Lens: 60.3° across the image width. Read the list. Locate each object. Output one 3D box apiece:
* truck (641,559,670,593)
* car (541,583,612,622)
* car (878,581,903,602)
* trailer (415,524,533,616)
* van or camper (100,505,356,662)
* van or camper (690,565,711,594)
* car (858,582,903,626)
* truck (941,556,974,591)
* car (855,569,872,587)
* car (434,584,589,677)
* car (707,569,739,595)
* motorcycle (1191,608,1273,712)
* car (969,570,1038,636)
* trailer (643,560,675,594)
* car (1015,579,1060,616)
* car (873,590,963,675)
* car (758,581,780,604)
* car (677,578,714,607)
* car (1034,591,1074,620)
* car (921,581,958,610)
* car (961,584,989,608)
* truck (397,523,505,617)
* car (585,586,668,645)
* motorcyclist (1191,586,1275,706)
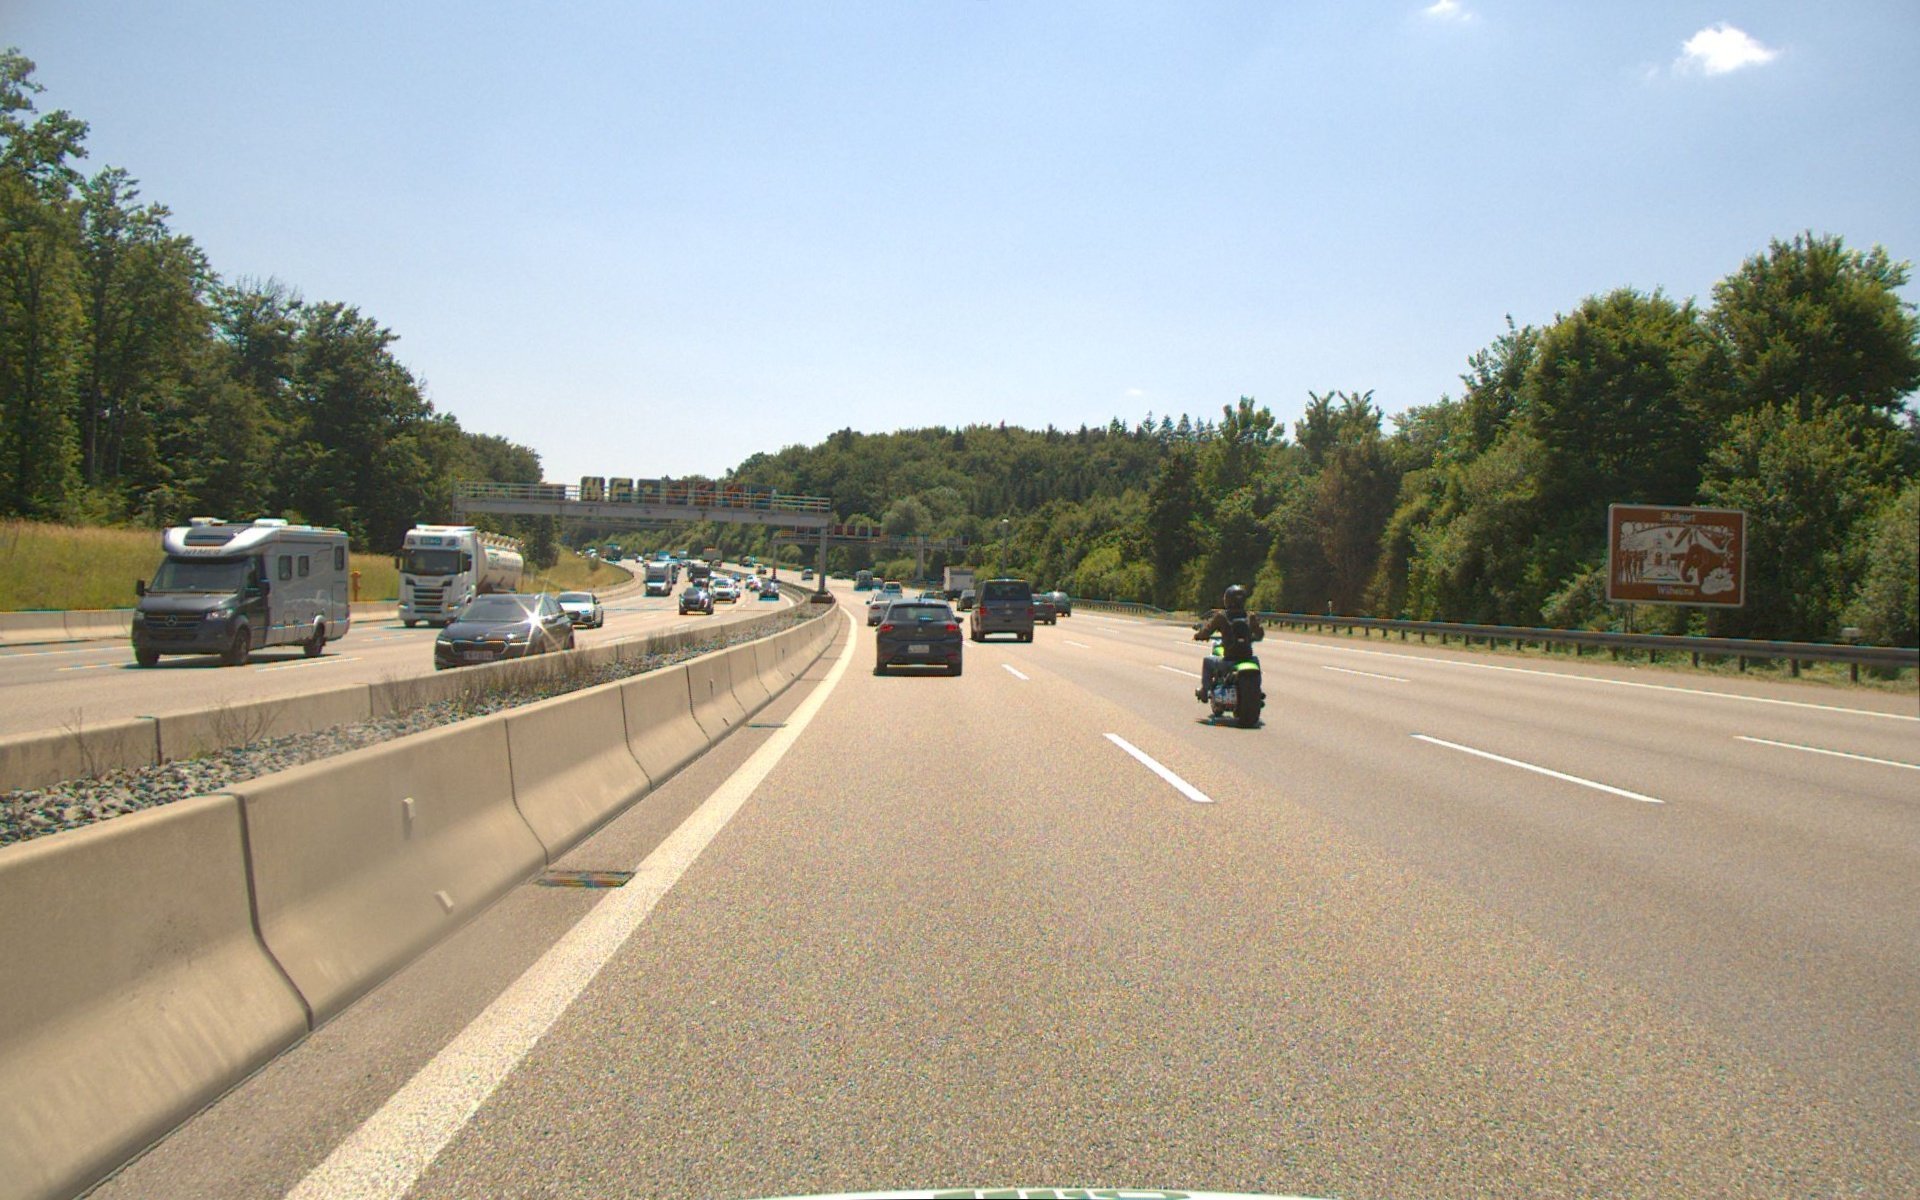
[{"bbox_3d":[-30.494,-2.368,165.615,2.440,3.222,4.396,1,0,-6],"label":"truck"},{"bbox_3d":[-15.152,0.078,65.597,1.954,1.485,5.043,0,0,-4],"label":"car"},{"bbox_3d":[-6.287,-0.786,149.026,2.062,1.774,4.683,1,2,-5],"label":"car"},{"bbox_3d":[-20.850,-1.164,71.617,2.599,3.597,10.486,1,-1,-4],"label":"trailer"},{"bbox_3d":[-15.347,-0.321,35.326,2.507,2.982,7.345,0,0,-3],"label":"van or camper"},{"bbox_3d":[-33.684,-2.652,215.084,2.384,3.742,7.748,0,1,-7],"label":"van or camper"},{"bbox_3d":[-3.602,0.201,75.052,1.972,1.878,3.998,0,-2,-2],"label":"car"},{"bbox_3d":[-0.259,-2.649,160.620,2.925,3.221,7.573,1,2,-2],"label":"truck"},{"bbox_3d":[-12.663,-2.885,217.249,2.220,2.412,4.699,0,1,-3],"label":"car"},{"bbox_3d":[-8.111,0.537,30.343,1.640,1.523,4.949,1,-1,-2],"label":"car"},{"bbox_3d":[-19.530,-1.462,136.514,2.152,2.091,7.133,0,0,-5],"label":"car"},{"bbox_3d":[3.362,0.709,20.629,0.525,1.155,2.436,0,1,-2],"label":"motorcycle"},{"bbox_3d":[1.404,0.133,55.424,1.924,2.069,5.080,1,-1,-3],"label":"car"},{"bbox_3d":[-31.057,-2.331,170.845,2.427,3.209,10.465,1,-1,-6],"label":"trailer"},{"bbox_3d":[3.714,-0.117,79.834,1.812,1.758,3.998,0,0,-2],"label":"car"},{"bbox_3d":[-0.833,0.598,32.994,1.673,1.458,3.999,1,1,-1],"label":"car"},{"bbox_3d":[-17.742,-0.728,154.023,1.955,2.049,3.994,1,-1,-7],"label":"car"},{"bbox_3d":[-15.155,-0.423,94.931,1.642,1.553,4.607,1,-1,-4],"label":"car"},{"bbox_3d":[5.662,0.321,99.630,1.954,1.758,3.997,0,0,-4],"label":"car"},{"bbox_3d":[-1.308,-0.275,102.829,1.955,1.758,4.144,0,0,-6],"label":"car"},{"bbox_3d":[1.018,-0.279,113.912,1.632,1.433,4.902,1,2,-2],"label":"car"},{"bbox_3d":[-20.582,-1.137,67.291,2.650,3.605,6.615,1,-1,-4],"label":"truck"},{"bbox_3d":[-10.679,0.457,53.272,2.244,1.758,5.022,0,1,-8],"label":"car"},{"bbox_3d":[3.393,0.554,20.625,0.835,1.452,1.023,0,1,-3],"label":"motorcyclist"}]
